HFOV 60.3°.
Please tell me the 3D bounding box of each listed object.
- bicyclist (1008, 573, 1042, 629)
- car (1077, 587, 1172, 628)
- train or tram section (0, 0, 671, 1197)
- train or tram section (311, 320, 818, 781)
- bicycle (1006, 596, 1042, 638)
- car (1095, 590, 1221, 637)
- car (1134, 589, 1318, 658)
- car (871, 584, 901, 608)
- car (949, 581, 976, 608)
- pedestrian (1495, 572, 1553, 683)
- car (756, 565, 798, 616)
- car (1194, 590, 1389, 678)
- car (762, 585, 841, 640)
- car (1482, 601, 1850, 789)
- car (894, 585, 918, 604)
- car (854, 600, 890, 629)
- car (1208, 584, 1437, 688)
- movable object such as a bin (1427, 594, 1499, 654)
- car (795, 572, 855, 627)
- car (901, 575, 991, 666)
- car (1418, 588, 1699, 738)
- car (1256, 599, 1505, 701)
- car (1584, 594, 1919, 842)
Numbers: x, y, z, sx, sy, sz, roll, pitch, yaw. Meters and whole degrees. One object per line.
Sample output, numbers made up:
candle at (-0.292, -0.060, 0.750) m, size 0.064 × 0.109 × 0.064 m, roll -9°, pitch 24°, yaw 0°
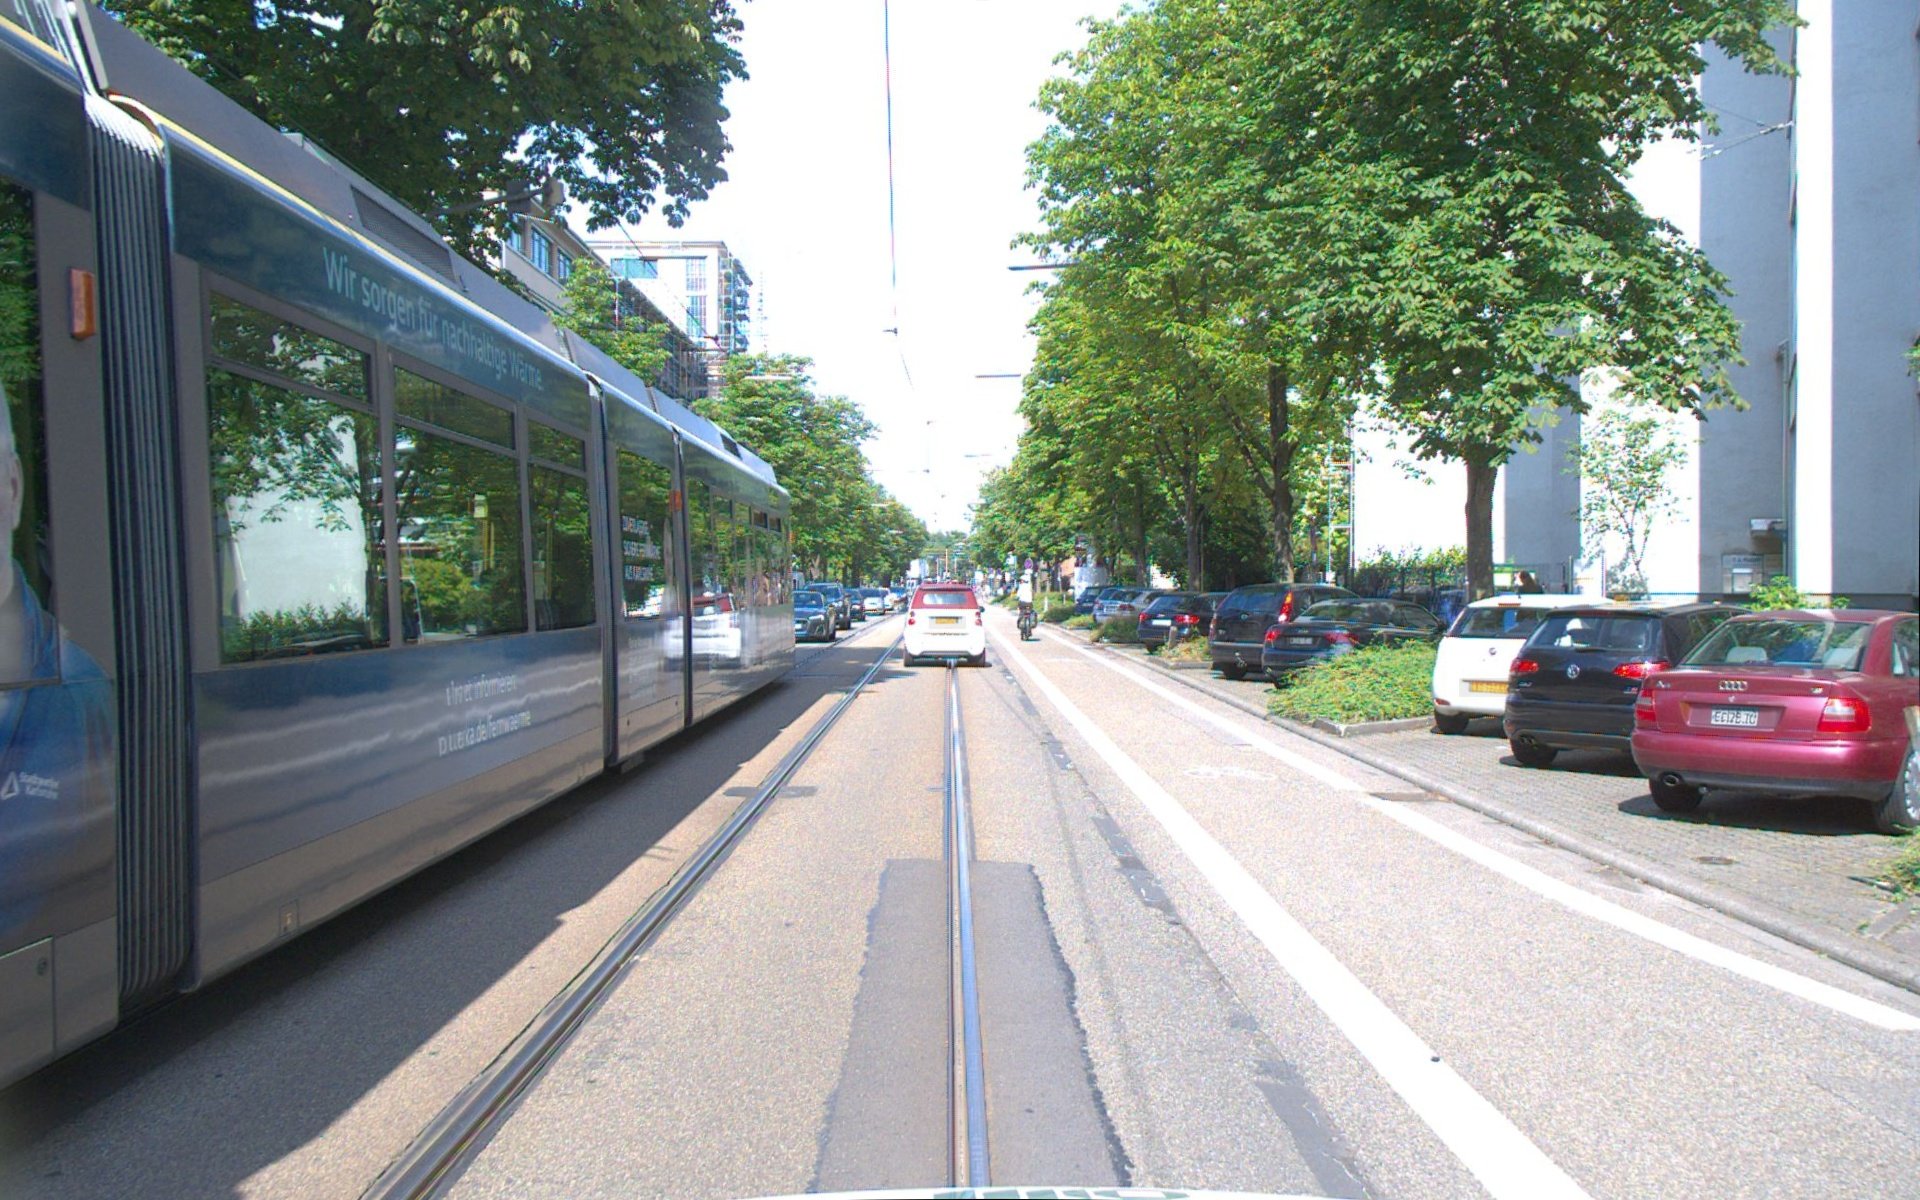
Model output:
bicyclist at (1.861, 0.033, 47.085) m, size 0.871 × 1.555 × 1.086 m, roll 2°, pitch 0°, yaw 6°
car at (6.426, 0.283, 64.488) m, size 1.588 × 1.512 × 3.973 m, roll -1°, pitch 0°, yaw 43°
train or tram section at (-3.535, -0.330, 6.902) m, size 2.598 × 3.448 × 11.472 m, roll -2°, pitch 0°, yaw 0°
train or tram section at (-3.610, -0.381, 19.629) m, size 2.598 × 3.414 × 14.107 m, roll -2°, pitch 0°, yaw 0°
bicycle at (1.814, 0.477, 46.808) m, size 0.856 × 1.145 × 2.137 m, roll 2°, pitch 0°, yaw 5°
car at (6.572, 0.422, 54.665) m, size 4.200 × 1.445 × 1.700 m, roll 0°, pitch 1°, yaw -39°
car at (6.179, 0.553, 38.105) m, size 1.997 × 1.467 × 4.505 m, roll 1°, pitch 0°, yaw 44°
car at (-4.534, -0.228, 101.934) m, size 1.652 × 1.430 × 4.226 m, roll 0°, pitch 0°, yaw 0°
car at (0.127, -0.364, 101.776) m, size 1.631 × 1.653 × 3.620 m, roll 0°, pitch 1°, yaw -1°
pedestrian at (9.864, 0.466, 28.959) m, size 0.744 × 1.906 × 1.003 m, roll 0°, pitch 0°, yaw 5°
car at (-10.086, -0.487, 91.411) m, size 1.733 × 2.685 × 5.321 m, roll 2°, pitch 0°, yaw -1°
car at (6.363, 0.592, 31.535) m, size 1.698 × 1.468 × 4.046 m, roll 3°, pitch 3°, yaw 45°
car at (-4.266, 0.311, 45.114) m, size 1.762 × 1.412 × 4.425 m, roll 0°, pitch 0°, yaw -1°
car at (6.537, 0.758, 15.123) m, size 3.968 × 1.474 × 1.672 m, roll 0°, pitch 0°, yaw -44°
car at (-4.583, -0.436, 140.555) m, size 1.763 × 1.534 × 4.536 m, roll 1°, pitch 0°, yaw 1°
car at (-4.686, 0.758, 88.142) m, size 1.737 × 1.441 × 3.851 m, roll -2°, pitch 0°, yaw -1°
car at (6.210, 0.593, 28.160) m, size 3.967 × 1.602 × 1.876 m, roll 1°, pitch 0°, yaw -43°
movable object such as a bin at (11.556, 0.549, 38.032) m, size 1.249 × 1.341 × 1.325 m, roll 1°, pitch 0°, yaw -1°
car at (-4.660, -0.019, 57.496) m, size 1.789 × 1.757 × 4.390 m, roll 2°, pitch 0°, yaw -1°
car at (-0.280, 0.373, 32.492) m, size 1.631 × 1.653 × 3.620 m, roll 2°, pitch 0°, yaw -1°
car at (6.779, 0.632, 18.516) m, size 1.509 × 1.486 × 3.973 m, roll 1°, pitch 0°, yaw 43°
car at (6.477, 0.726, 25.227) m, size 1.873 × 1.373 × 4.146 m, roll 1°, pitch 0°, yaw 44°
car at (6.346, 0.697, 11.946) m, size 4.127 × 1.448 × 1.837 m, roll -1°, pitch 0°, yaw -43°
